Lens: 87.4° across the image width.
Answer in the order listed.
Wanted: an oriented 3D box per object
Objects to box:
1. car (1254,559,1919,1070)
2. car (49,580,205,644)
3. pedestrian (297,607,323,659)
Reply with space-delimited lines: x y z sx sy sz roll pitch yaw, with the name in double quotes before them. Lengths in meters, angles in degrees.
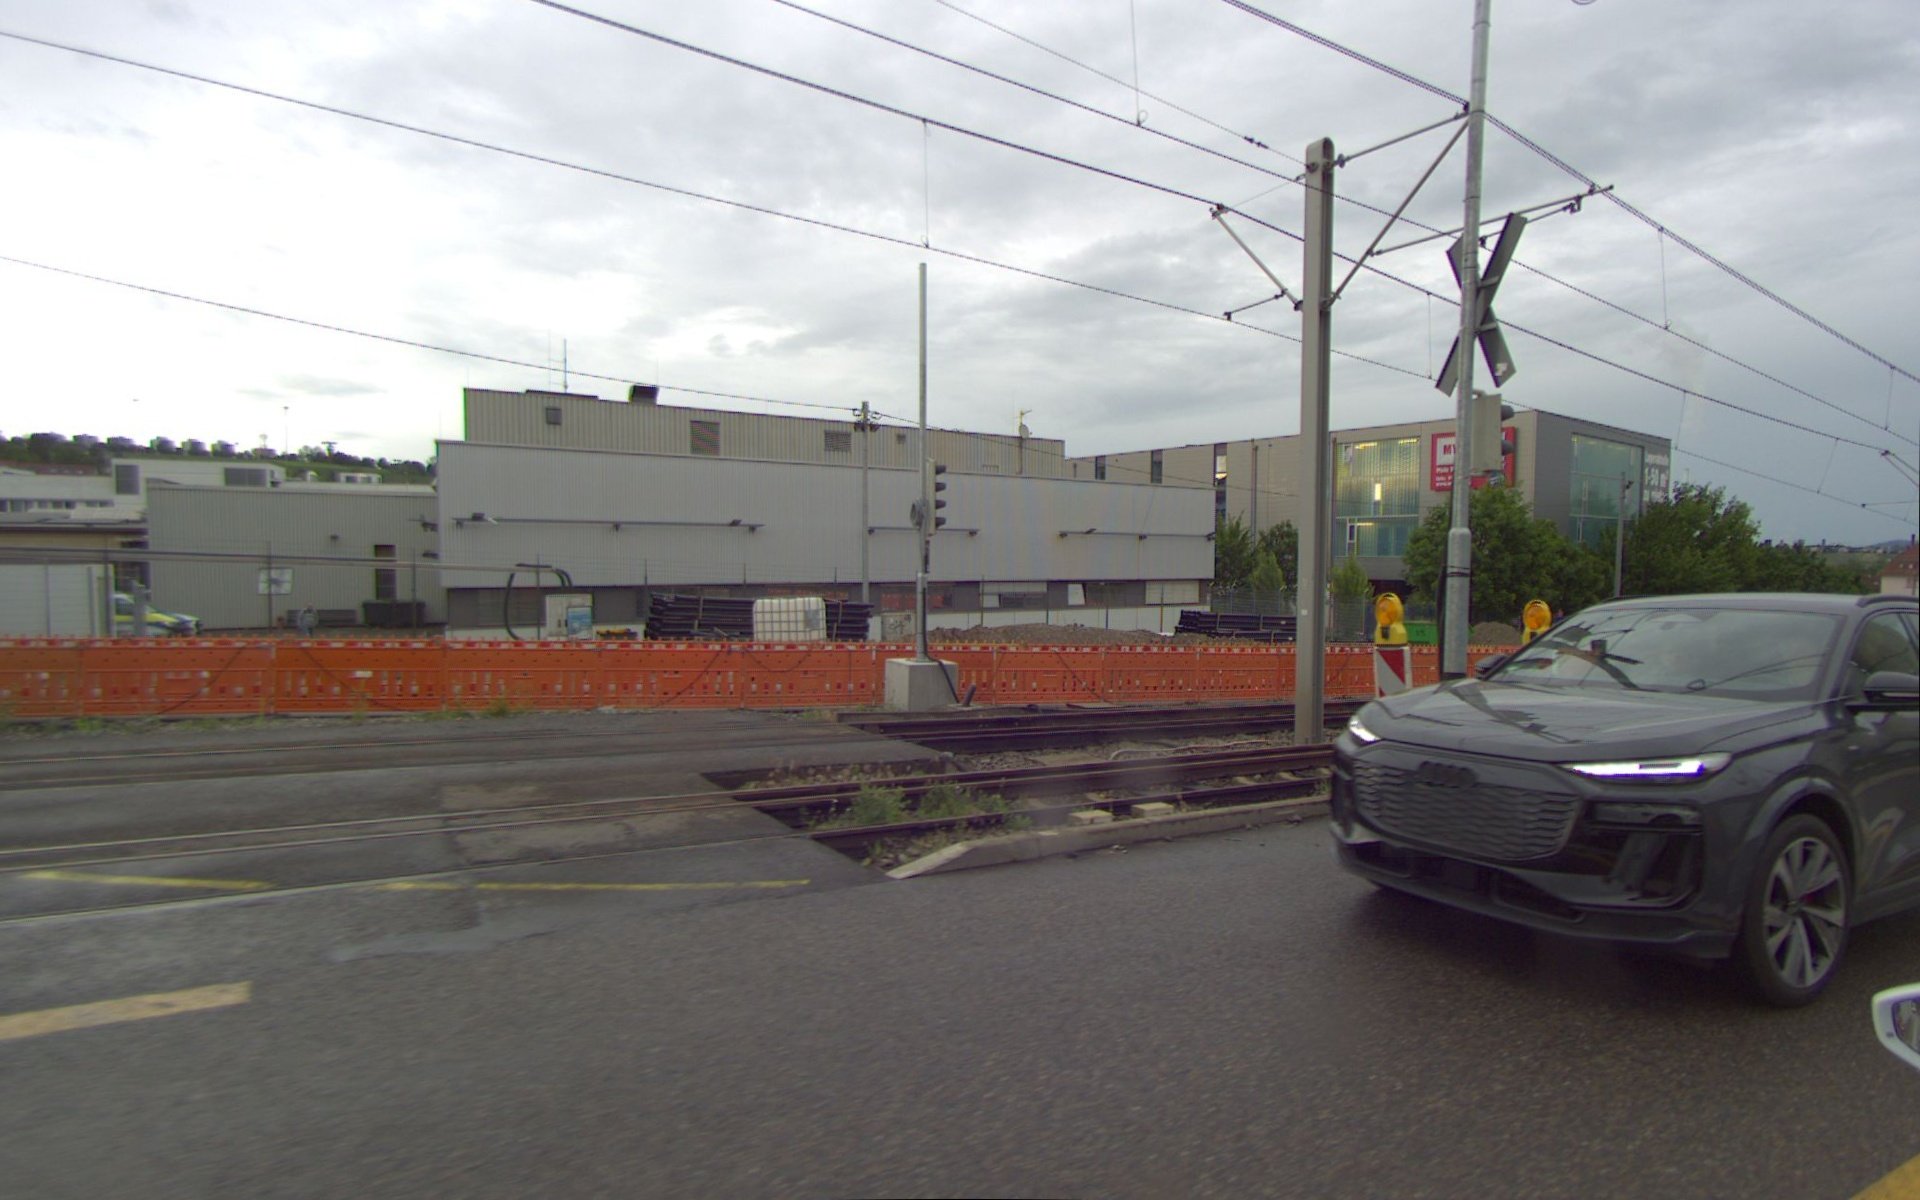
"car" 3.902 0.749 5.317 4.435 1.700 1.984 1 0 -30
"car" -28.234 0.418 34.180 3.968 2.040 1.976 2 0 -41
"pedestrian" -23.310 1.186 36.017 0.755 1.814 0.703 1 1 -33
